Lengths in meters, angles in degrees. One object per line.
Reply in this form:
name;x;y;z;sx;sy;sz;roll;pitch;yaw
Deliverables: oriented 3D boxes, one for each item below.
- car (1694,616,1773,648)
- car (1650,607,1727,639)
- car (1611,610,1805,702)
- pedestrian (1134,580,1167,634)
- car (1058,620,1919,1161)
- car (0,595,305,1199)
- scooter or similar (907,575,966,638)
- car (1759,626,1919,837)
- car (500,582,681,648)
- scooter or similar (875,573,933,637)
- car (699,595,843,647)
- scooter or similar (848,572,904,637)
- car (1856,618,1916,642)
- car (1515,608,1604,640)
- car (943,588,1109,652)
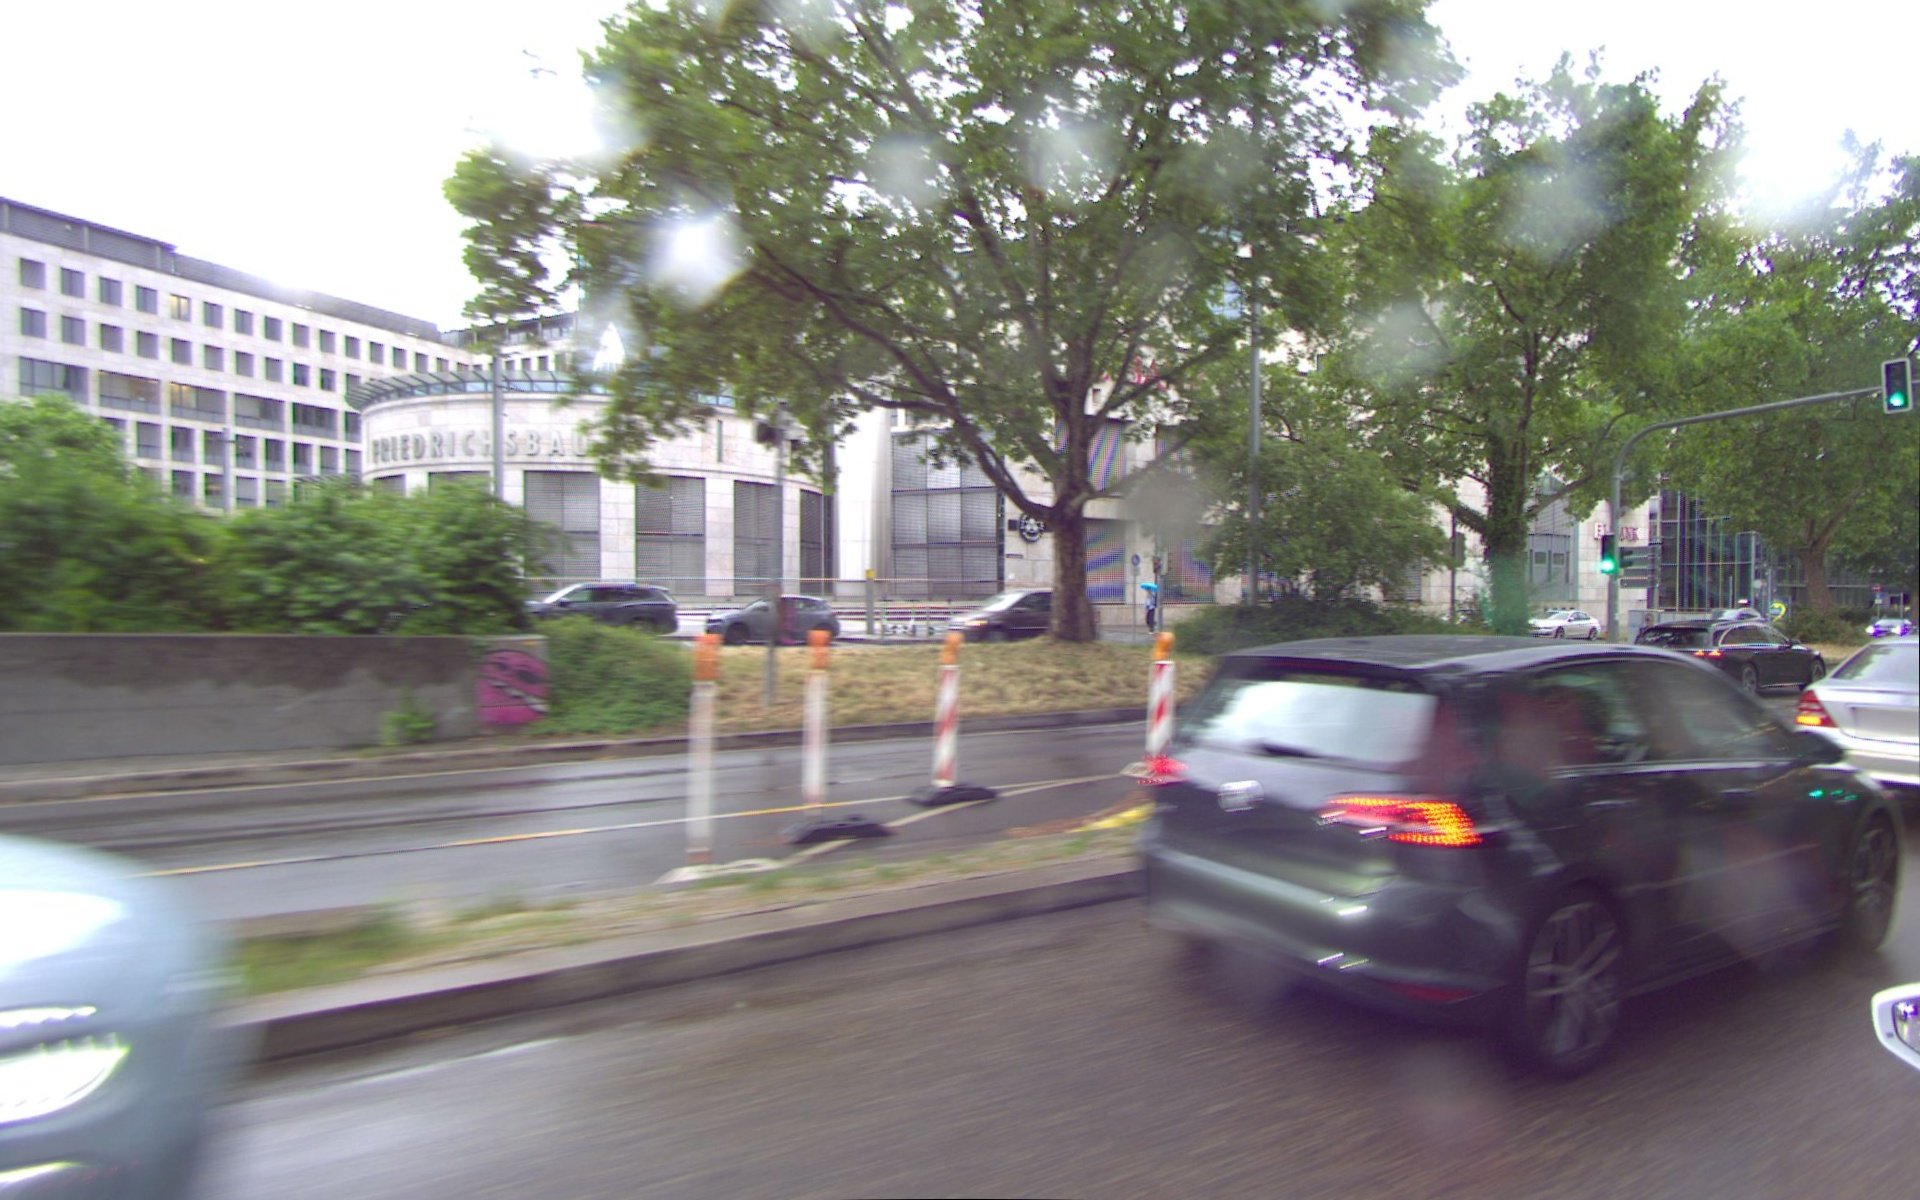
car;38.249;1.577;49.662;4.453;1.530;1.783;1;-2;-34
car;39.751;1.269;54.781;4.185;1.664;1.682;1;0;-27
car;14.713;1.023;19.719;3.953;1.641;1.691;0;0;-31
pedestrian;7.413;0.254;39.063;0.937;2.041;0.779;0;3;-35
car;2.582;0.840;4.551;4.082;1.482;1.683;1;-1;-31
car;-2.979;0.748;1.309;3.464;1.511;1.582;1;-1;-31
scooter or similar;-0.824;0.199;34.143;0.820;2.040;3.069;0;0;-25
car;8.577;0.964;8.317;4.295;1.482;1.683;1;-1;-31
car;-9.927;0.417;27.050;4.441;1.662;1.653;1;0;-26
scooter or similar;-1.904;0.170;33.546;0.820;2.040;3.069;0;0;-25
car;-5.598;0.623;29.760;3.945;1.421;1.545;1;0;-24
scooter or similar;-2.806;0.147;33.053;0.820;2.040;3.069;0;0;-25
car;58.518;1.890;63.460;4.195;1.384;1.837;1;0;-34
car;28.620;1.148;47.967;4.185;1.421;1.682;1;0;-27
car;1.789;0.534;26.901;4.239;1.611;1.544;1;0;-27
